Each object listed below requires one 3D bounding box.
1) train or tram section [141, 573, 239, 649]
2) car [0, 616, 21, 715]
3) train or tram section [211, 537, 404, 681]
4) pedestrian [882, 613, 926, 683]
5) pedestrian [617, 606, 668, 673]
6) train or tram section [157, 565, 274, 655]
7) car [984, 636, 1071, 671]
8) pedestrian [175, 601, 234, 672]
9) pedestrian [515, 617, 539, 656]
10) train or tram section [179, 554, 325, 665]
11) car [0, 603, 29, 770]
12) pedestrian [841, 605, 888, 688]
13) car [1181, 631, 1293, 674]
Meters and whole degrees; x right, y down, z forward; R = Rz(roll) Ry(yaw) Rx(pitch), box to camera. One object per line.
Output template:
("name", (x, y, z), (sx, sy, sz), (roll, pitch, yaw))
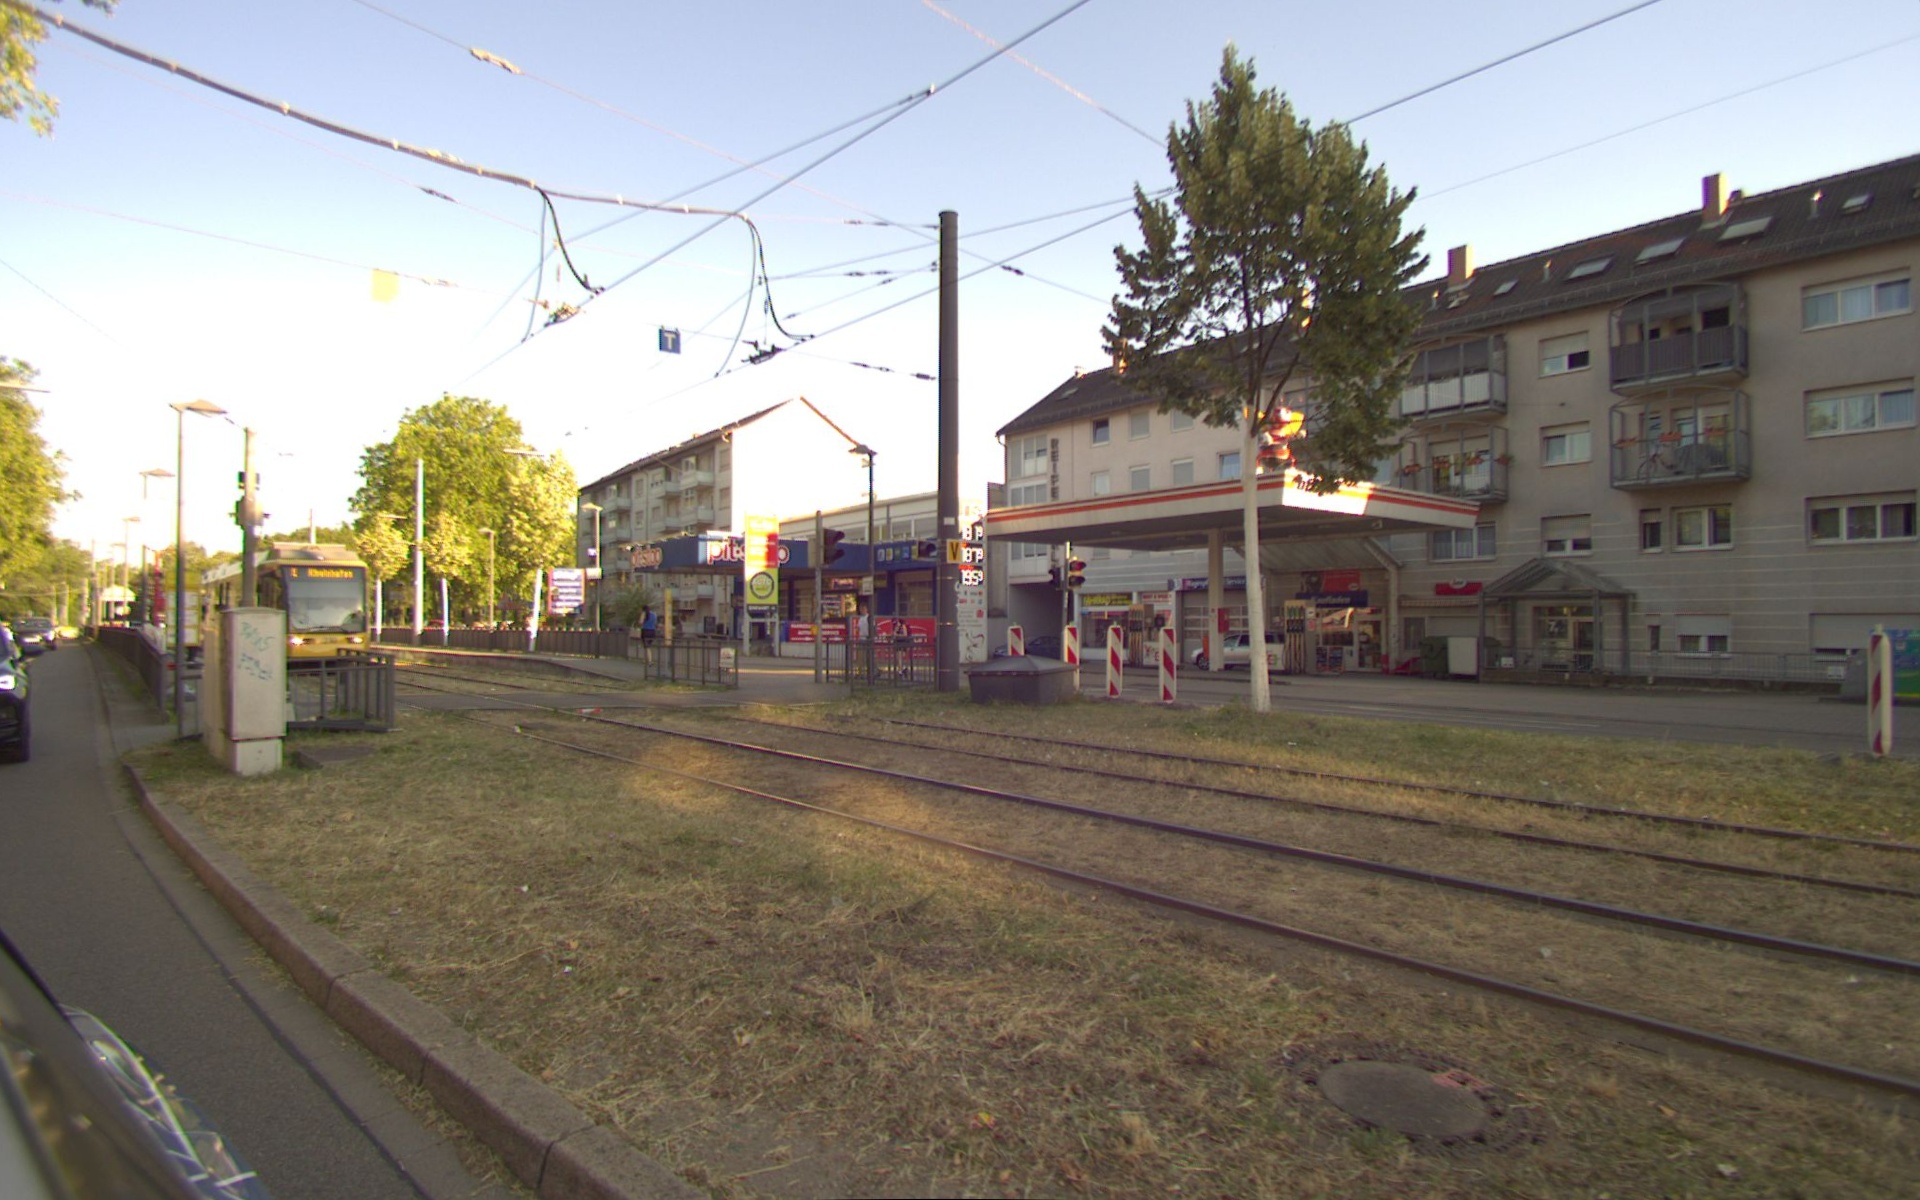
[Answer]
("train or tram section", (-39.804, 0.615, 52.152), (2.999, 3.544, 10.108), (3, -3, -42))
("car", (-18.504, 1.155, 18.440), (1.862, 1.678, 4.859), (0, -1, -41))
("train or tram section", (-19.406, 0.329, 29.703), (2.999, 3.544, 10.108), (3, -3, -42))
("pedestrian", (-1.418, 1.211, 25.744), (0.744, 1.760, 0.861), (2, -3, -44))
("pedestrian", (-8.287, 1.022, 26.383), (0.923, 1.666, 0.927), (-2, 0, -41))
("train or tram section", (-33.021, 0.515, 44.686), (2.999, 3.544, 10.108), (3, -3, -42))
("car", (3.104, 2.435, 46.505), (3.746, 1.535, 1.821), (1, -2, -38))
("pedestrian", (-17.004, 0.809, 22.774), (0.789, 1.562, 0.906), (-1, -1, 40))
("pedestrian", (-21.840, 1.832, 51.026), (0.744, 1.896, 1.001), (-2, 0, -43))
("train or tram section", (-26.203, 0.420, 37.193), (2.999, 3.544, 10.108), (3, -3, -42))
("car", (-11.330, 0.906, 10.785), (4.087, 1.628, 1.884), (-2, 0, 45))
("pedestrian", (-2.302, 1.114, 24.520), (0.847, 1.947, 0.756), (2, -2, -44))
("car", (10.674, 1.985, 39.203), (1.789, 1.535, 3.835), (0, -1, -39))
